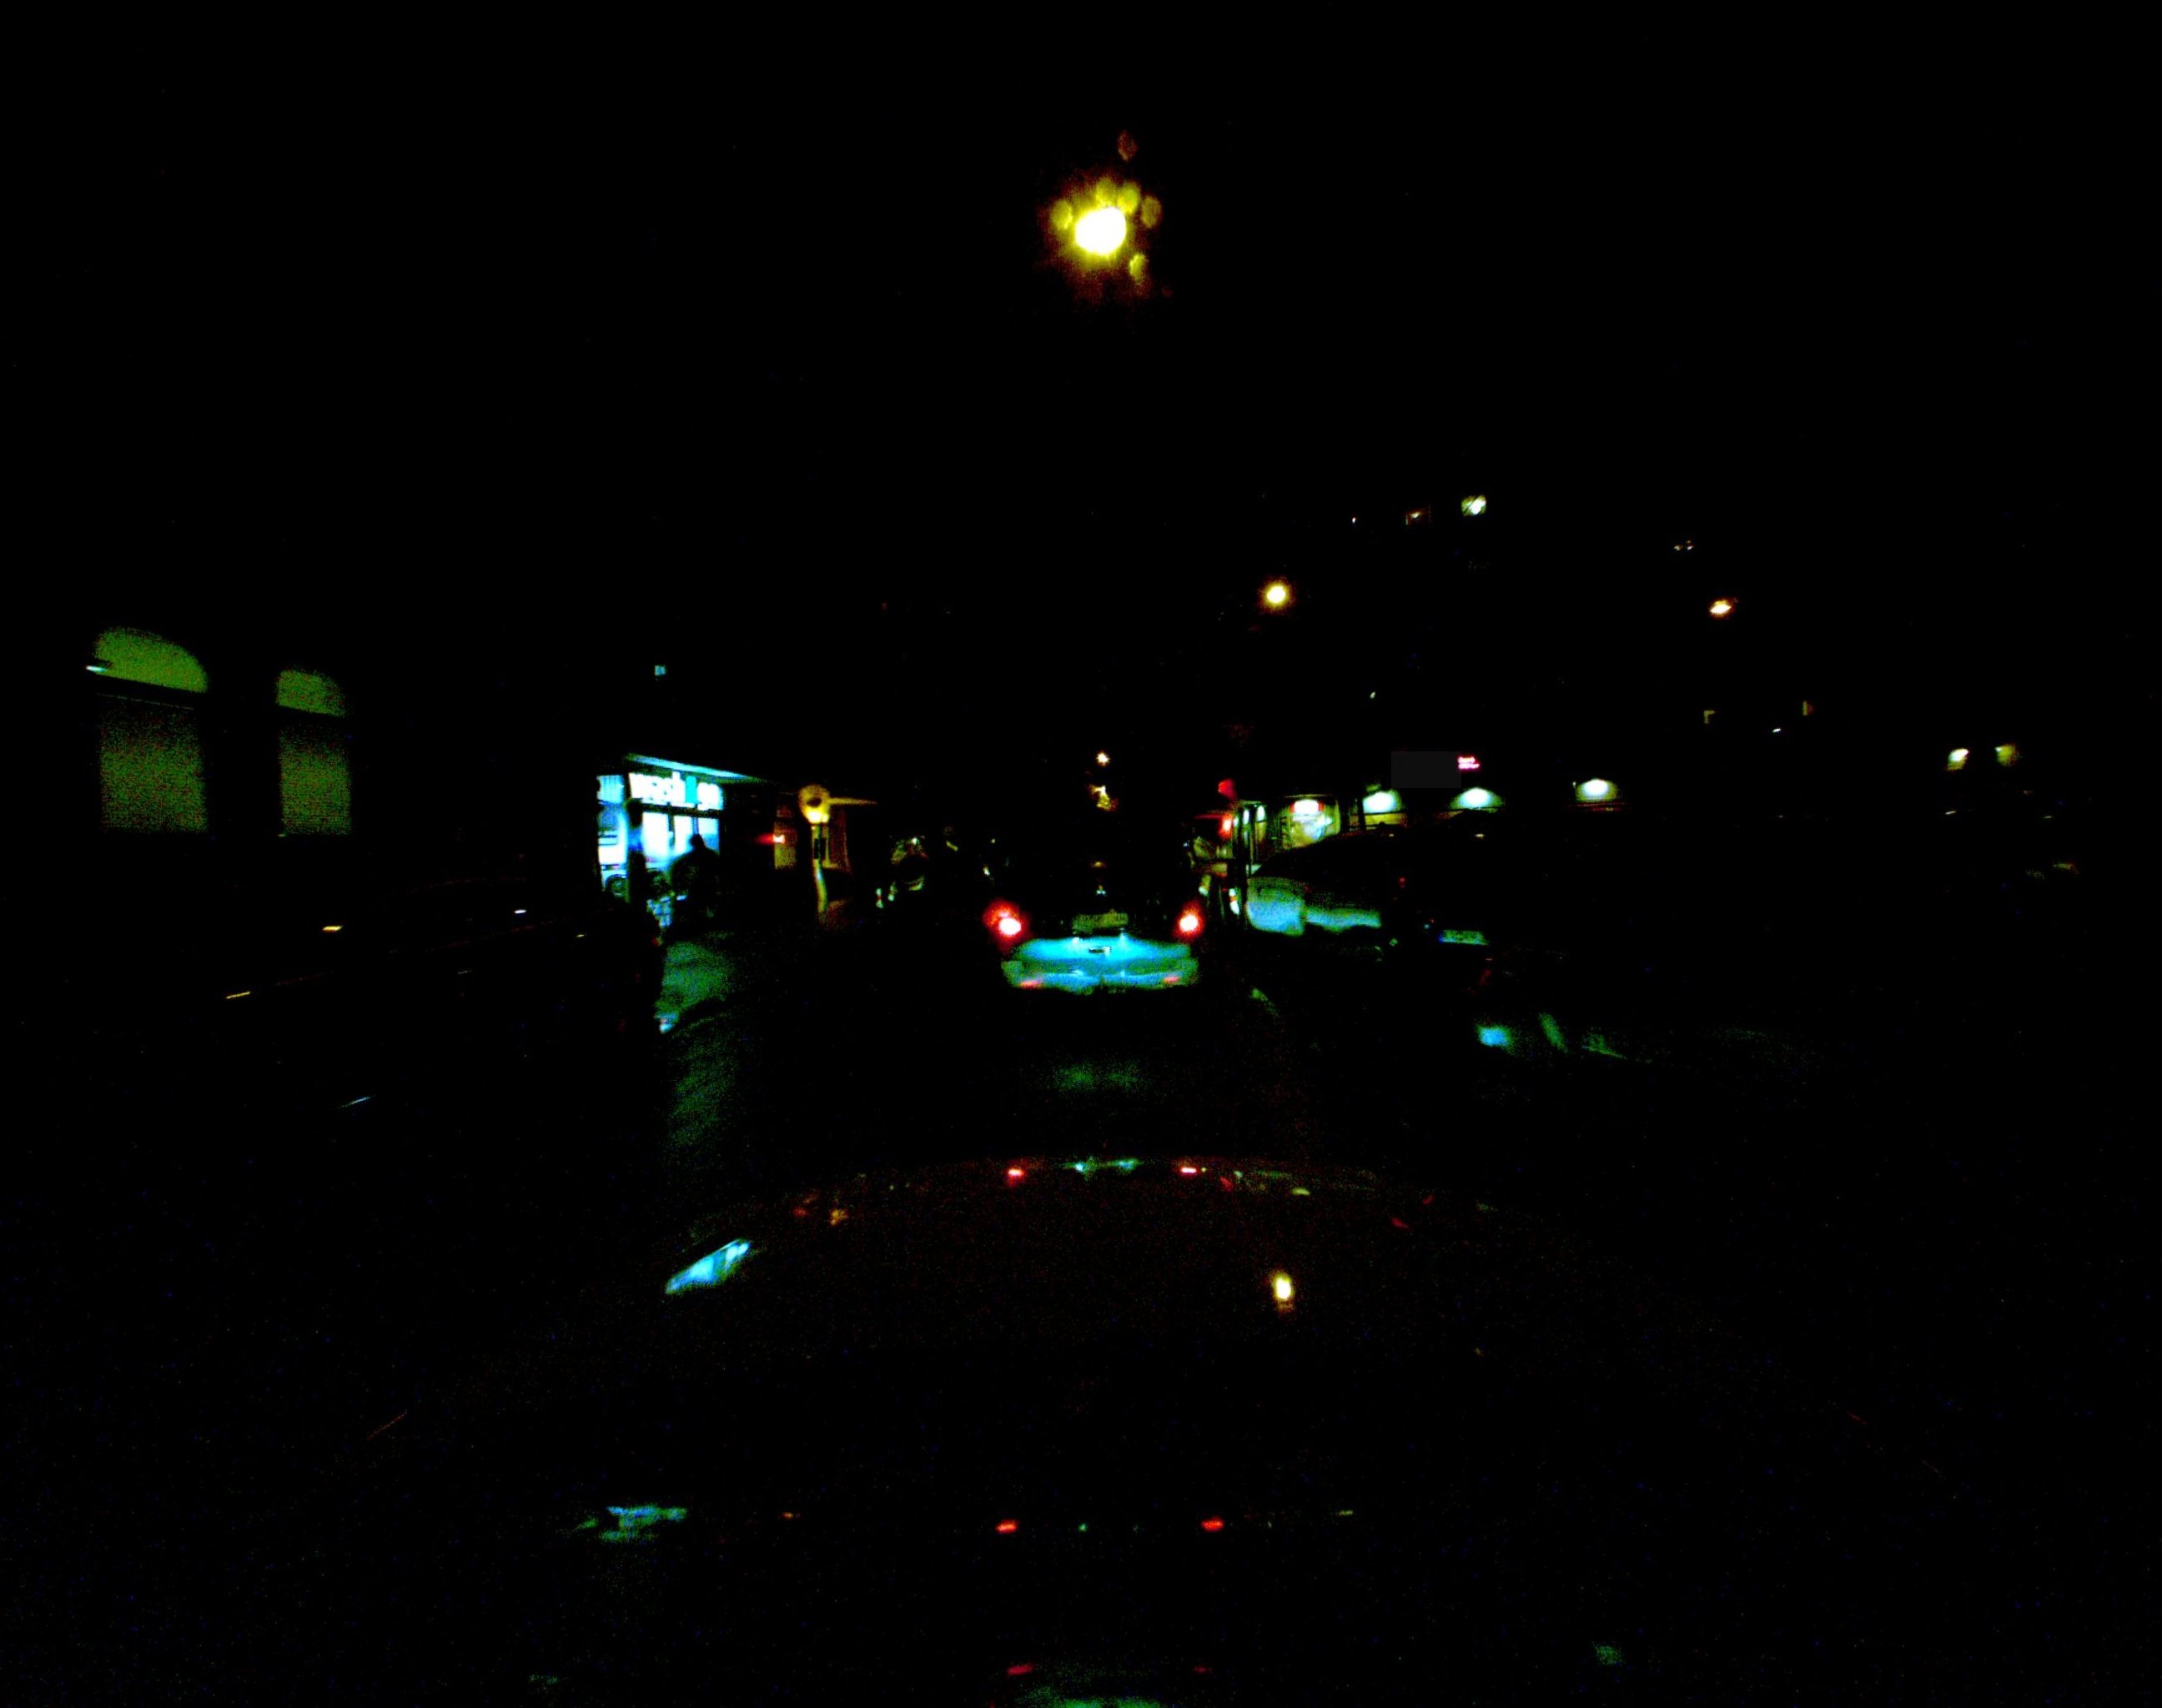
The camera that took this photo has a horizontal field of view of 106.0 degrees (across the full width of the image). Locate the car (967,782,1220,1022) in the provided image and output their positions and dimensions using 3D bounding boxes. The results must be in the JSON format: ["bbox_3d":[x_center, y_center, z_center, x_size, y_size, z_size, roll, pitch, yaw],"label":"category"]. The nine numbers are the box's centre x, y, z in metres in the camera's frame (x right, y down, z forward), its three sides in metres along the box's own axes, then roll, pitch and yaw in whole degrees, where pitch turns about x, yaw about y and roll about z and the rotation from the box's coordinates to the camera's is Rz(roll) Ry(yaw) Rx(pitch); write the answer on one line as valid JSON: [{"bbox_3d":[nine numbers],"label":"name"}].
[{"bbox_3d":[0.195,0.402,9.305,2.114,1.991,4.603,-2,0,2],"label":"car"}]

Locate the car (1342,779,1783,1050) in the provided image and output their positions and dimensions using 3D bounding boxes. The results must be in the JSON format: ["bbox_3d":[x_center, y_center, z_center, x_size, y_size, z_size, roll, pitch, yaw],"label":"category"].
[{"bbox_3d":[4.283,0.327,7.097,3.808,1.712,1.730,-5,0,-33],"label":"car"}]

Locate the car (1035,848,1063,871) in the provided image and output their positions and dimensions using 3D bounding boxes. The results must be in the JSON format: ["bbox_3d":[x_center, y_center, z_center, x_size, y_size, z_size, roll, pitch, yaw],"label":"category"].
[{"bbox_3d":[-2.184,0.339,55.972,1.580,1.463,4.026,1,1,2],"label":"car"}]

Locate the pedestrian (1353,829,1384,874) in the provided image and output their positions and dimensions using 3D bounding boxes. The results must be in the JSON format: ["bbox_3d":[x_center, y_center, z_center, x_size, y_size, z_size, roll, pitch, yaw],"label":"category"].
[{"bbox_3d":[11.855,-0.104,33.552,0.867,1.833,0.990,-3,0,38],"label":"pedestrian"}]

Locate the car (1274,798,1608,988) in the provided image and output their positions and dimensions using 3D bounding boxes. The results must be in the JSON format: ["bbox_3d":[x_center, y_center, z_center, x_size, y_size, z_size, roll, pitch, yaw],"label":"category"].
[{"bbox_3d":[4.290,0.335,9.564,3.755,1.712,1.753,-4,0,-33],"label":"car"}]

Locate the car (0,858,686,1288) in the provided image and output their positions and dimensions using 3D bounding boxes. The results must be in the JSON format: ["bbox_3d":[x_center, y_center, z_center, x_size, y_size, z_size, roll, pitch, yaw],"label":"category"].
[{"bbox_3d":[-4.702,0.822,5.053,1.840,1.478,5.033,-2,0,2],"label":"car"}]

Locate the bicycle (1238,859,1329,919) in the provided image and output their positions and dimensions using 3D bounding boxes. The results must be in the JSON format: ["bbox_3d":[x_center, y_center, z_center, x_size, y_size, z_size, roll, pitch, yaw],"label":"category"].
[{"bbox_3d":[3.673,0.638,14.851,0.338,1.026,1.626,-4,1,-45],"label":"bicycle"}]

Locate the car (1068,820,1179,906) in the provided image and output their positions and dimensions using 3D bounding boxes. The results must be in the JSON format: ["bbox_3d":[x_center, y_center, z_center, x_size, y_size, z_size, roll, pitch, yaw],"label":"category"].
[{"bbox_3d":[1.246,0.182,20.906,2.109,1.922,4.841,-1,0,11],"label":"car"}]

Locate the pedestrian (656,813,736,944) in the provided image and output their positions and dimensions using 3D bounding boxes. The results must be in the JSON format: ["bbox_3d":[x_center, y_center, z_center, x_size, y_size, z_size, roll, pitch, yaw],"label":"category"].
[{"bbox_3d":[-6.904,0.427,14.672,0.796,2.241,1.116,-2,0,1],"label":"pedestrian"}]

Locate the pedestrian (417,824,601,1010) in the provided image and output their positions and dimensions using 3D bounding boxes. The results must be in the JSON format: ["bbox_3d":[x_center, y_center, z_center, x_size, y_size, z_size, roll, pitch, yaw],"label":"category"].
[{"bbox_3d":[-6.285,0.640,9.065,0.952,1.863,1.415,-2,0,1],"label":"pedestrian"}]

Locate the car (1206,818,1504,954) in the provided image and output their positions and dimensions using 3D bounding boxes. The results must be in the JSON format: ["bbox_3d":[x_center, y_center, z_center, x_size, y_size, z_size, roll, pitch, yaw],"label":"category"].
[{"bbox_3d":[4.218,0.399,12.447,4.273,1.573,1.756,-4,0,-27],"label":"car"}]

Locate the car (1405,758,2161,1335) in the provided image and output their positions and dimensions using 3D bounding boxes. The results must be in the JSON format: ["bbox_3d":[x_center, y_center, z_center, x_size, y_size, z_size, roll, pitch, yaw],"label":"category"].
[{"bbox_3d":[3.838,0.444,4.034,4.081,1.597,1.818,-4,0,-26],"label":"car"}]

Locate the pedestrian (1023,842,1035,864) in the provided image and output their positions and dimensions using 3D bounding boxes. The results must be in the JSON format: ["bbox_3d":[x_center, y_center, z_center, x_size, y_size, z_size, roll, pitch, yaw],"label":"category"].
[{"bbox_3d":[-4.238,-0.080,66.599,0.799,1.766,1.018,-1,0,8],"label":"pedestrian"}]
